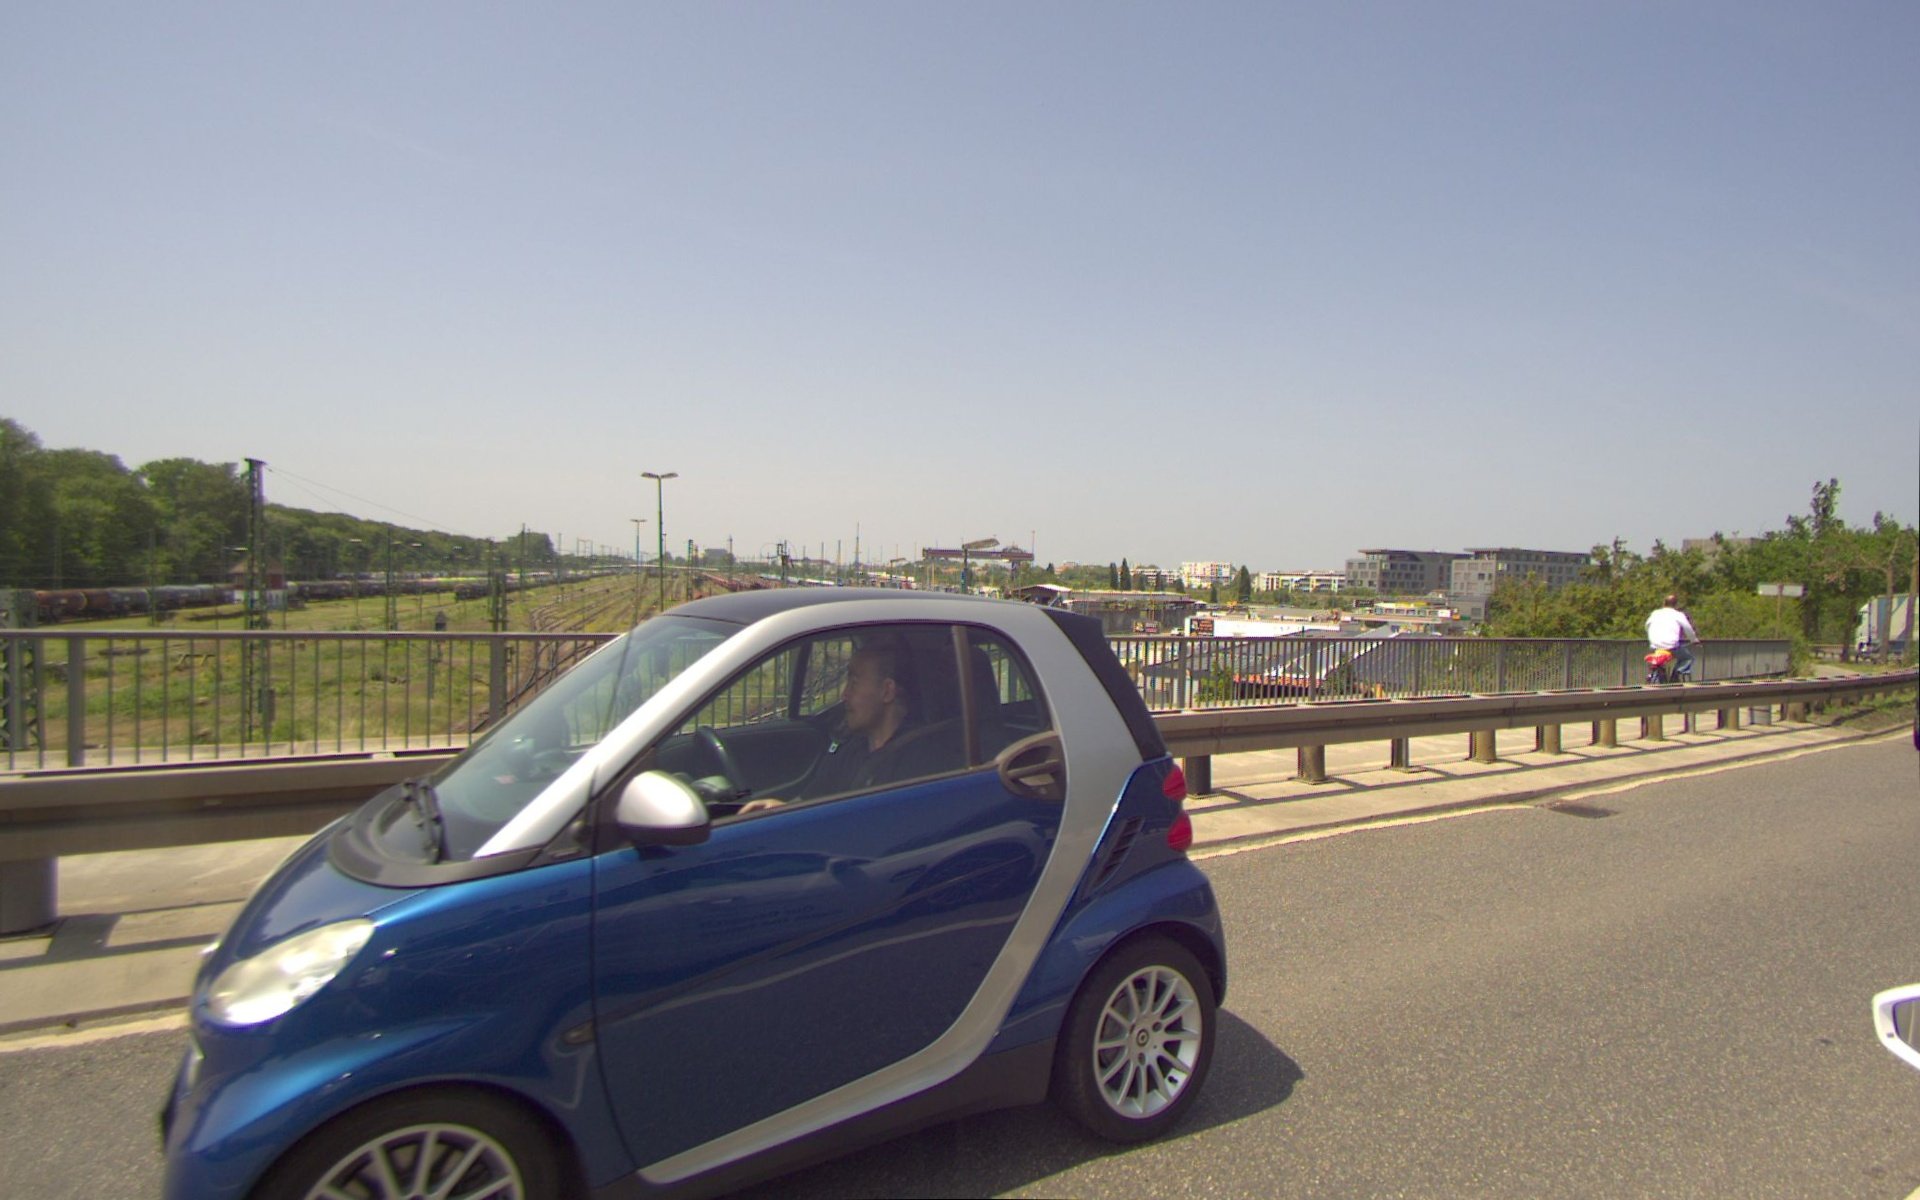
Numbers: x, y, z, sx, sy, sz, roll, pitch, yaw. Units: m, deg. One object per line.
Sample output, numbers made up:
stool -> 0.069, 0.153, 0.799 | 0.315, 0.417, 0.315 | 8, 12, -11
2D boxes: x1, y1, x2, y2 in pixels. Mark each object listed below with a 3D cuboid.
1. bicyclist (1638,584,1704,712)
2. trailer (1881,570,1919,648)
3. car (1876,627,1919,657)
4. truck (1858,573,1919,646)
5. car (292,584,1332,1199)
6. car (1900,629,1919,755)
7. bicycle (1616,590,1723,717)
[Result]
bicyclist -> 10.930, 0.719, 15.443 | 0.706, 1.911, 0.619 | 0, 1, -37
trailer -> 57.291, 0.543, 58.179 | 3.519, 4.443, 11.414 | 1, 0, 31
car -> 49.359, 2.170, 52.513 | 1.654, 1.462, 4.115 | 0, -1, 36
truck -> 61.208, 0.596, 64.870 | 3.521, 4.500, 6.500 | 1, 1, 31
car -> -0.398, 0.726, 3.110 | 2.717, 1.506, 1.588 | 0, 1, -32
car -> 14.107, 1.184, 13.295 | 4.157, 1.557, 1.809 | 0, 1, -38
bicycle -> 10.906, 0.776, 15.416 | 2.160, 1.826, 0.693 | 0, 1, -37
